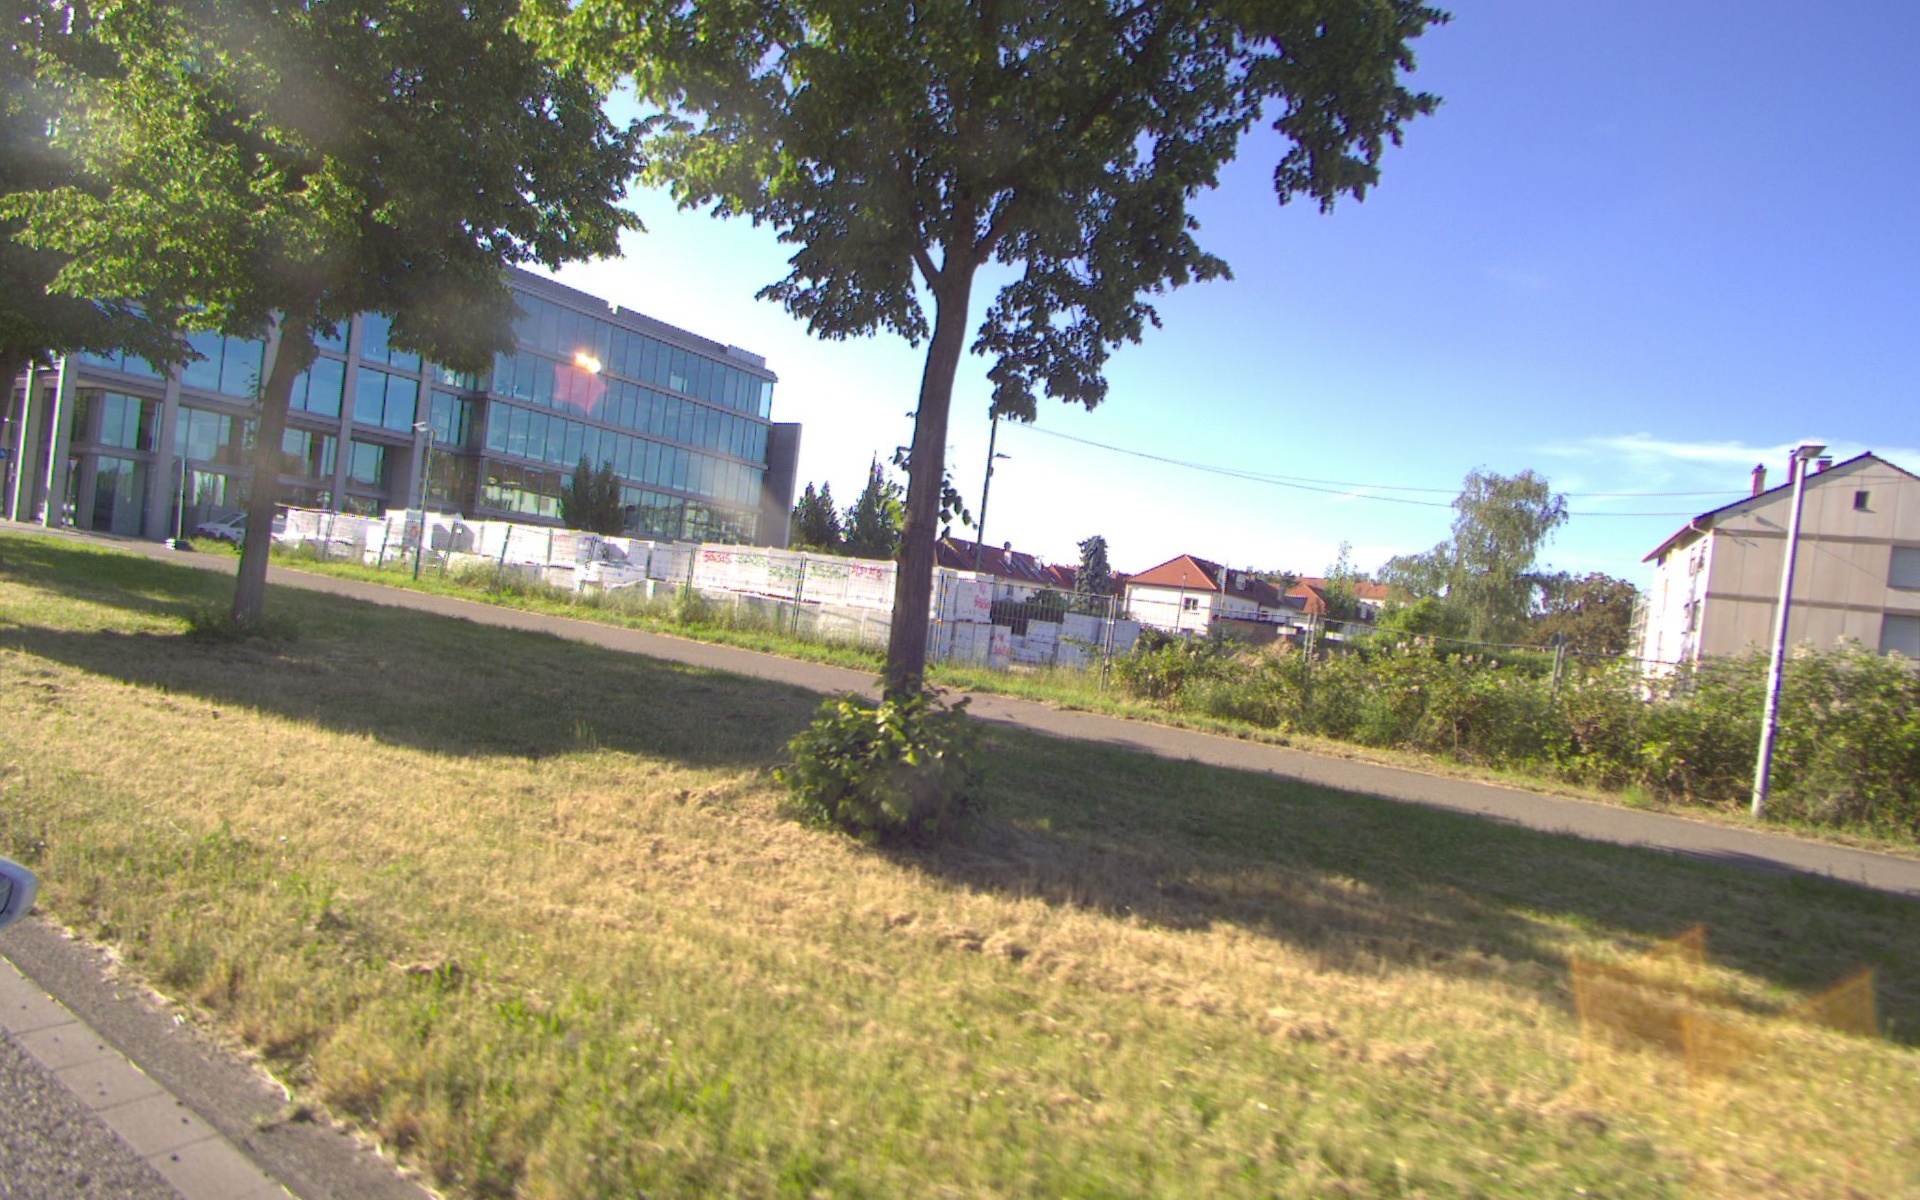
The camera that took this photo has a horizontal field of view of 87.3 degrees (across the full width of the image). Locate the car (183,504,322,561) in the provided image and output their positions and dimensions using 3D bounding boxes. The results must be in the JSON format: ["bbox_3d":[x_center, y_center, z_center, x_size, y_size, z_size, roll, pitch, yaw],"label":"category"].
[{"bbox_3d":[-34.331,-3.237,48.988,1.907,2.006,5.069,7,0,35],"label":"car"}]
